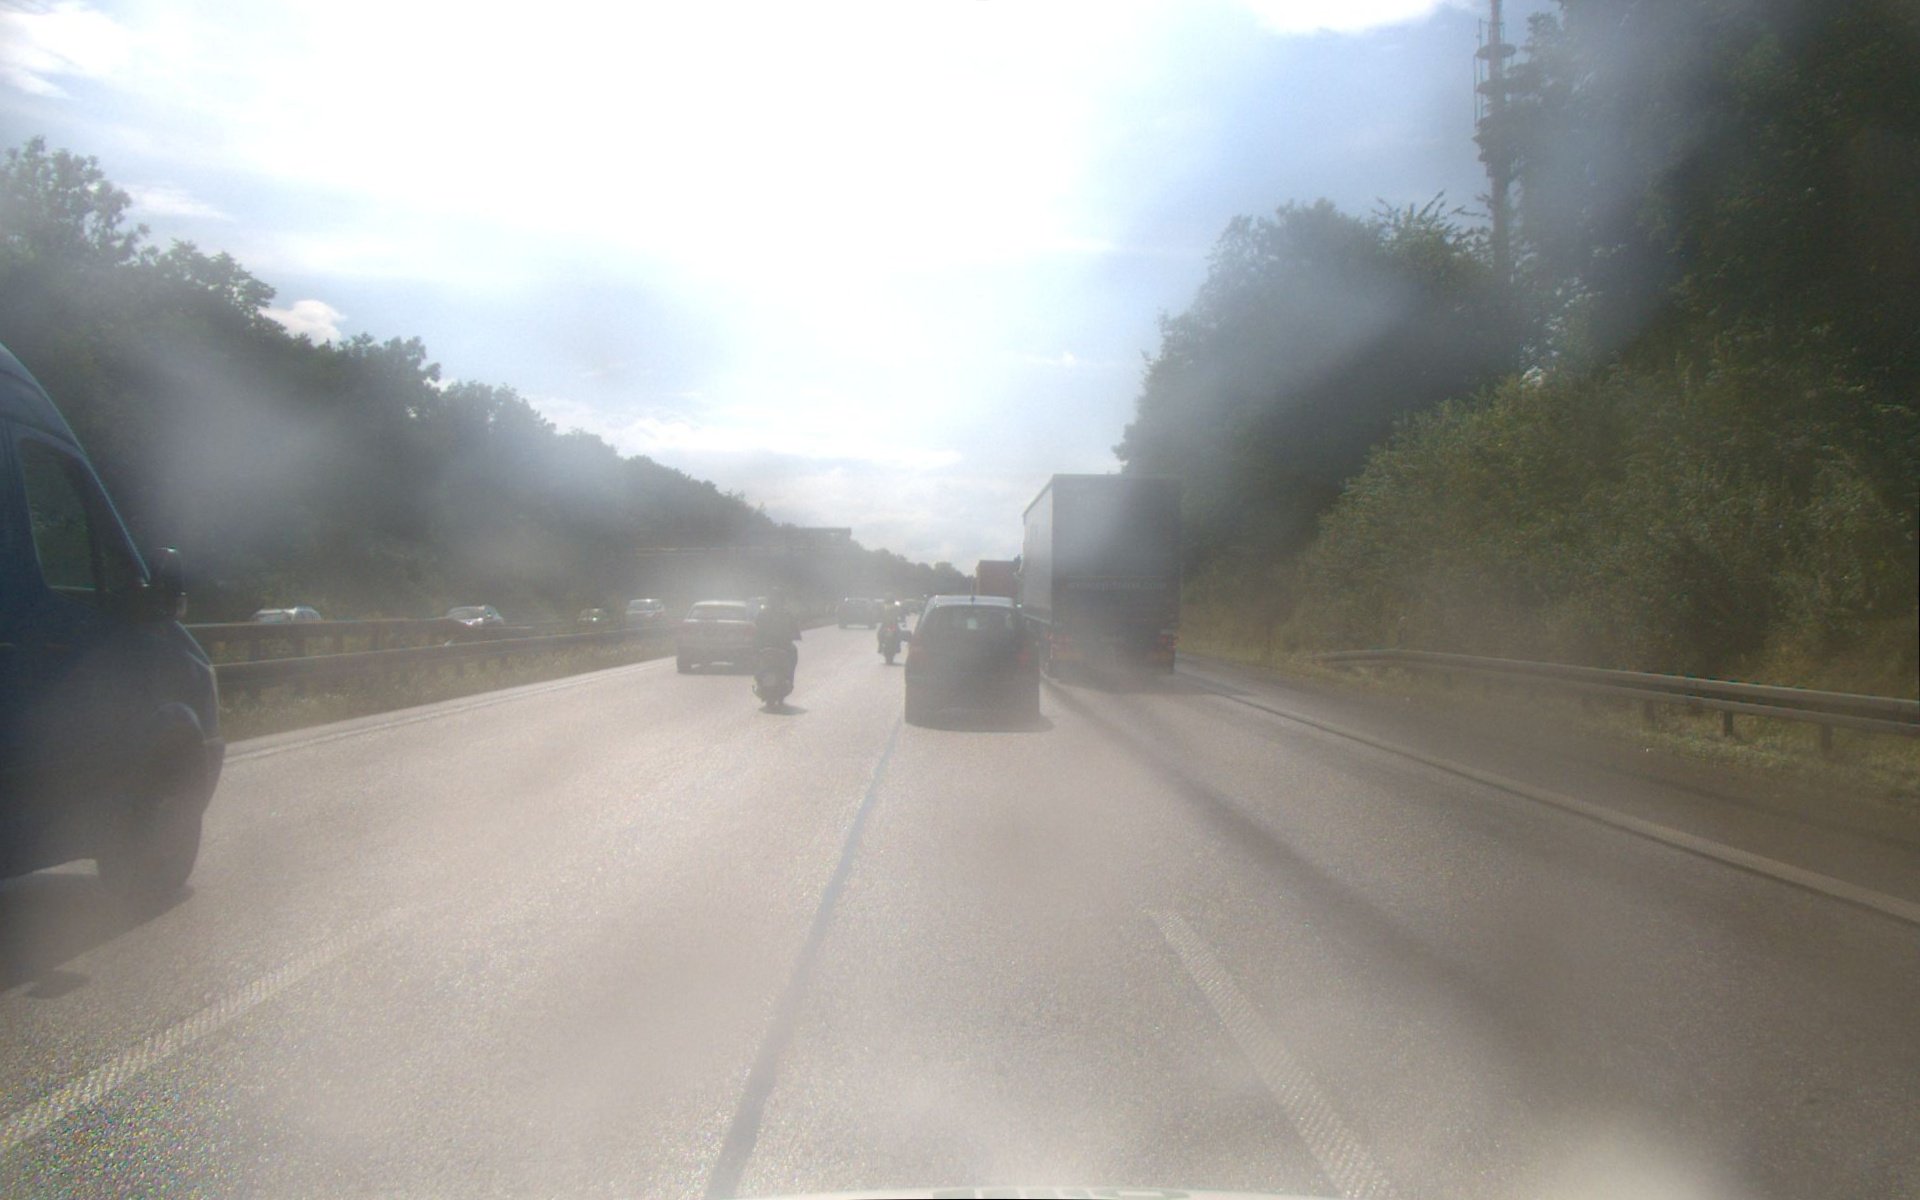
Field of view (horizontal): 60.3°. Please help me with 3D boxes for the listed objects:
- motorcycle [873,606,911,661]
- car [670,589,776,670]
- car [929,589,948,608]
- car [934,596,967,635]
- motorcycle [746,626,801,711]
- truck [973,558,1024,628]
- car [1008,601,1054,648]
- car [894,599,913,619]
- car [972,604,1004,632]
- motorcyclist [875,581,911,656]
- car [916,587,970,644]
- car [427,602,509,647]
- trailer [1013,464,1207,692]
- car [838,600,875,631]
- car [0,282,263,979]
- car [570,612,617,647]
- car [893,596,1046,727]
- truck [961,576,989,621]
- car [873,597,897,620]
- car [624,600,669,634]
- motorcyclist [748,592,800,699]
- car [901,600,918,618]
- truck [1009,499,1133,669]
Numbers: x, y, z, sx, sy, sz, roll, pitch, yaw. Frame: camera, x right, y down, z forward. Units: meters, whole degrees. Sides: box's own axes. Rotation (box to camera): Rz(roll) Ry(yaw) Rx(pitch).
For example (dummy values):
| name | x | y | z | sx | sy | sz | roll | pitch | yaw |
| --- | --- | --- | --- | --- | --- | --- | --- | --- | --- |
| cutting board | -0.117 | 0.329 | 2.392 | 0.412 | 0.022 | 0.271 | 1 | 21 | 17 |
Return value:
| name | x | y | z | sx | sy | sz | roll | pitch | yaw |
| --- | --- | --- | --- | --- | --- | --- | --- | --- | --- |
| motorcycle | -1.644 | 0.802 | 40.563 | 0.803 | 1.285 | 2.117 | 1 | 0 | 1 |
| car | -5.055 | 0.584 | 35.799 | 1.723 | 1.622 | 4.330 | 1 | 0 | -1 |
| car | -1.838 | -0.126 | 141.315 | 1.598 | 1.516 | 3.436 | 1 | 0 | -1 |
| car | -0.499 | 0.776 | 85.845 | 1.641 | 1.970 | 3.772 | 1 | 0 | -1 |
| motorcycle | -2.602 | 0.935 | 23.210 | 0.662 | 1.106 | 1.980 | 1 | 0 | -4 |
| truck | 2.516 | -0.413 | 110.635 | 3.137 | 4.481 | 9.431 | 1 | 0 | 0 |
| car | 3.155 | 1.081 | 73.989 | 1.811 | 2.049 | 4.086 | 1 | -1 | 0 |
| car | -5.966 | 0.933 | 174.898 | 1.953 | 2.049 | 3.999 | 1 | -1 | -1 |
| car | 1.557 | 1.004 | 93.296 | 1.641 | 1.516 | 3.436 | 1 | 0 | -1 |
| motorcyclist | -1.634 | 0.446 | 40.540 | 0.804 | 1.791 | 1.390 | 1 | -1 | 1 |
| car | -0.683 | 0.577 | 62.551 | 1.953 | 2.049 | 3.999 | 1 | -1 | -1 |
| car | -18.159 | 0.877 | 61.217 | 1.883 | 1.608 | 3.999 | -1 | 0 | -1 |
| trailer | 3.126 | -0.405 | 39.044 | 3.025 | 4.388 | 14.101 | 1 | 0 | -1 |
| car | -5.662 | 0.822 | 90.774 | 1.854 | 1.656 | 4.194 | 1 | 0 | -1 |
| car | -4.689 | 0.113 | 5.958 | 1.975 | 2.695 | 5.775 | 1 | 0 | -1 |
| car | -22.044 | 1.763 | 99.649 | 1.953 | 2.049 | 3.999 | 0 | 0 | -1 |
| car | 0.083 | 0.767 | 22.550 | 1.876 | 1.592 | 4.313 | 1 | 0 | -1 |
| truck | 1.651 | -0.139 | 184.489 | 2.823 | 4.770 | 12.655 | 1 | -1 | -1 |
| car | -5.603 | 0.634 | 123.826 | 1.641 | 1.625 | 3.436 | 1 | 0 | -1 |
| car | -18.463 | 0.957 | 97.476 | 1.885 | 1.945 | 4.288 | 0 | 0 | -1 |
| motorcyclist | -2.596 | 0.629 | 23.171 | 0.657 | 1.467 | 1.019 | 1 | -1 | -4 |
| car | -6.013 | 1.074 | 195.774 | 1.953 | 2.049 | 3.999 | 1 | -1 | -1 |
| truck | 3.003 | -0.388 | 46.202 | 2.990 | 4.401 | 5.885 | 1 | -1 | 0 |
